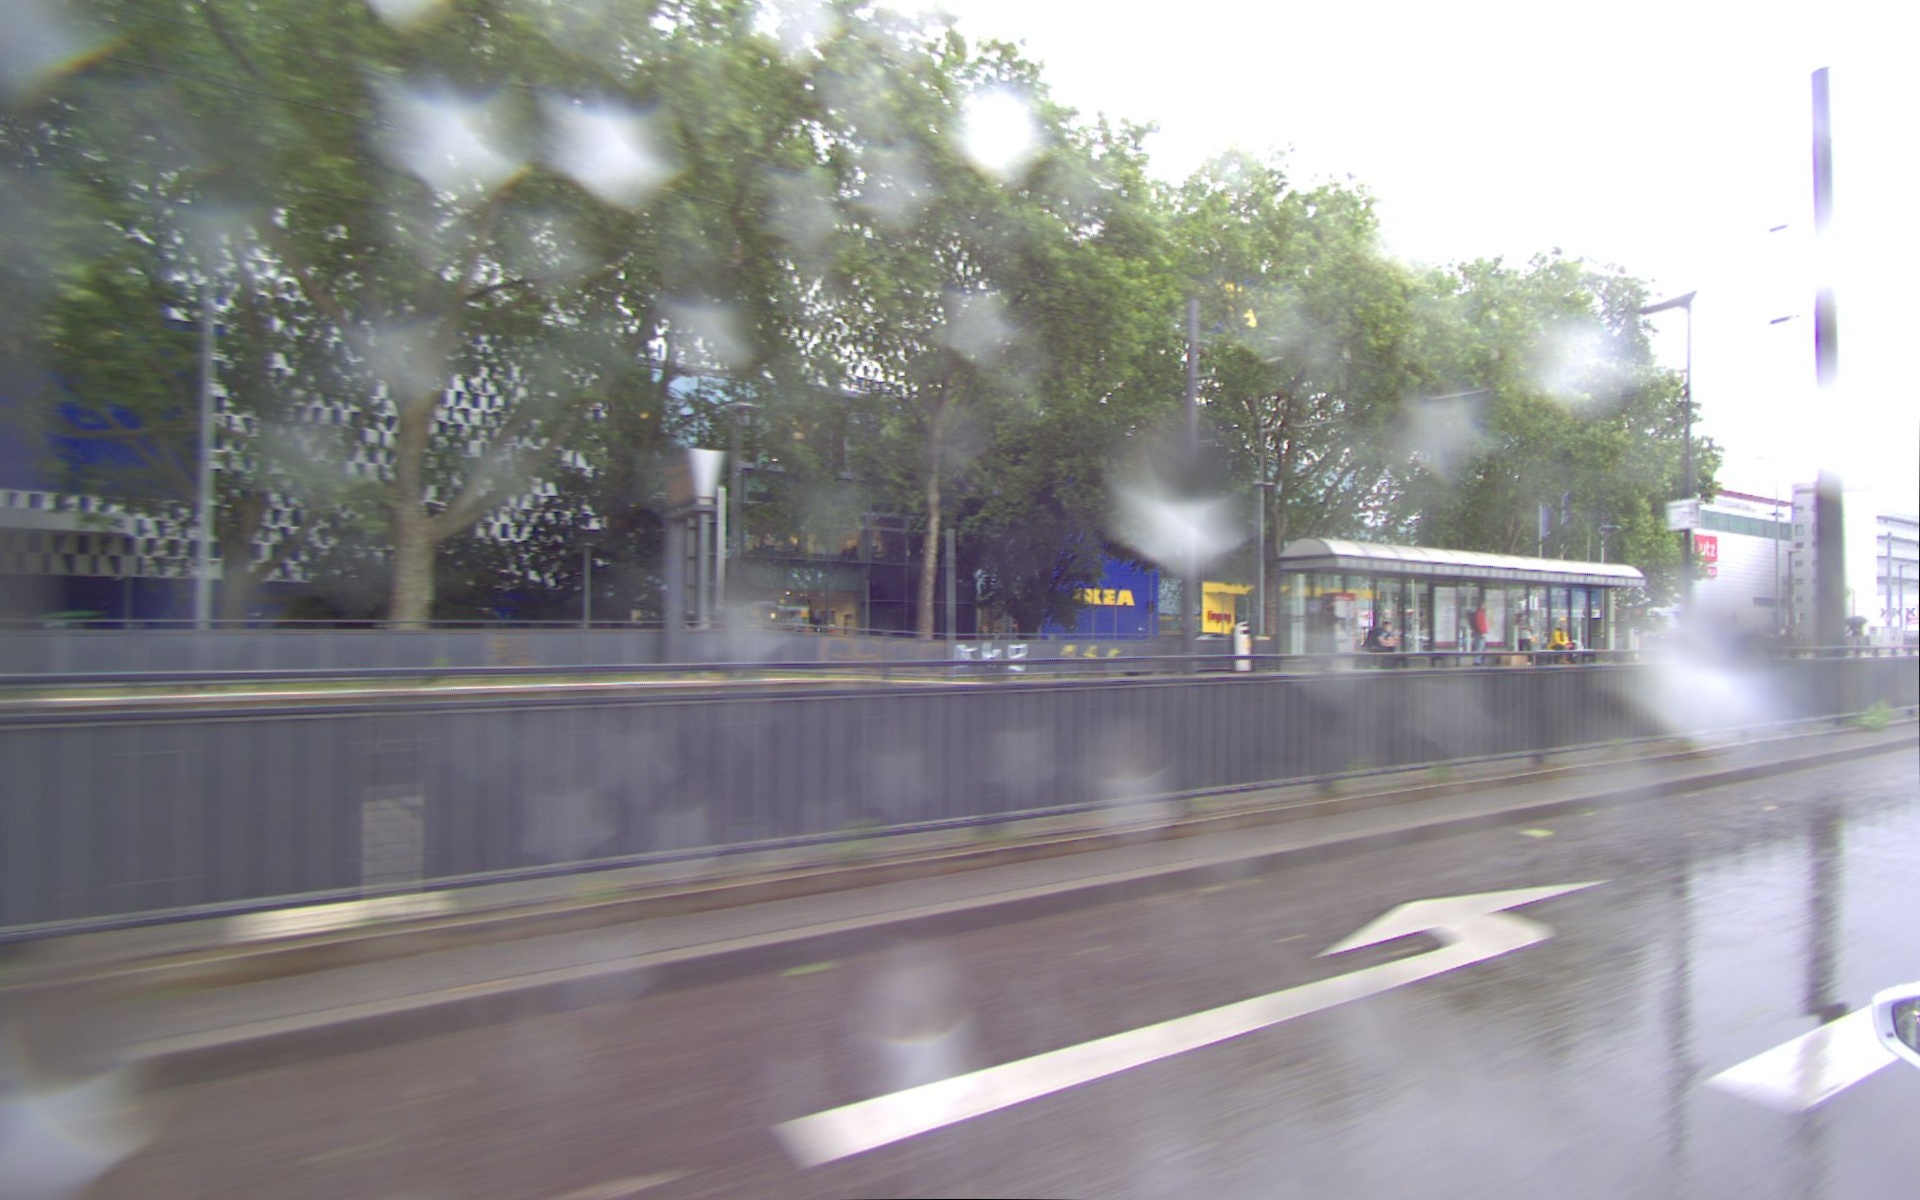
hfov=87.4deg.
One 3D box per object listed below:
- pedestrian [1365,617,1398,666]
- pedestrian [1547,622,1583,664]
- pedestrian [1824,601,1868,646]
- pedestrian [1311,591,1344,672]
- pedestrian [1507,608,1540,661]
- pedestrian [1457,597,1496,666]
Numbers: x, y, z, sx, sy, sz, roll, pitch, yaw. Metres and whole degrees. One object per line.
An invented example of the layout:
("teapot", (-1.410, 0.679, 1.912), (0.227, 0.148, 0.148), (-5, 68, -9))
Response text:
("pedestrian", (11.342, 1.119, 27.038), (0.655, 1.284, 0.491), (1, 1, -27))
("pedestrian", (19.458, 1.380, 32.312), (0.804, 1.320, 0.640), (1, 1, -27))
("pedestrian", (40.630, 1.073, 46.071), (1.081, 2.040, 1.085), (1, 1, -23))
("pedestrian", (9.467, 0.801, 25.854), (0.576, 2.040, 0.491), (1, 1, -30))
("pedestrian", (17.338, 1.040, 30.901), (0.813, 1.582, 0.671), (2, 1, 33))
("pedestrian", (14.956, 0.910, 29.088), (0.804, 1.959, 0.619), (1, 1, -27))
